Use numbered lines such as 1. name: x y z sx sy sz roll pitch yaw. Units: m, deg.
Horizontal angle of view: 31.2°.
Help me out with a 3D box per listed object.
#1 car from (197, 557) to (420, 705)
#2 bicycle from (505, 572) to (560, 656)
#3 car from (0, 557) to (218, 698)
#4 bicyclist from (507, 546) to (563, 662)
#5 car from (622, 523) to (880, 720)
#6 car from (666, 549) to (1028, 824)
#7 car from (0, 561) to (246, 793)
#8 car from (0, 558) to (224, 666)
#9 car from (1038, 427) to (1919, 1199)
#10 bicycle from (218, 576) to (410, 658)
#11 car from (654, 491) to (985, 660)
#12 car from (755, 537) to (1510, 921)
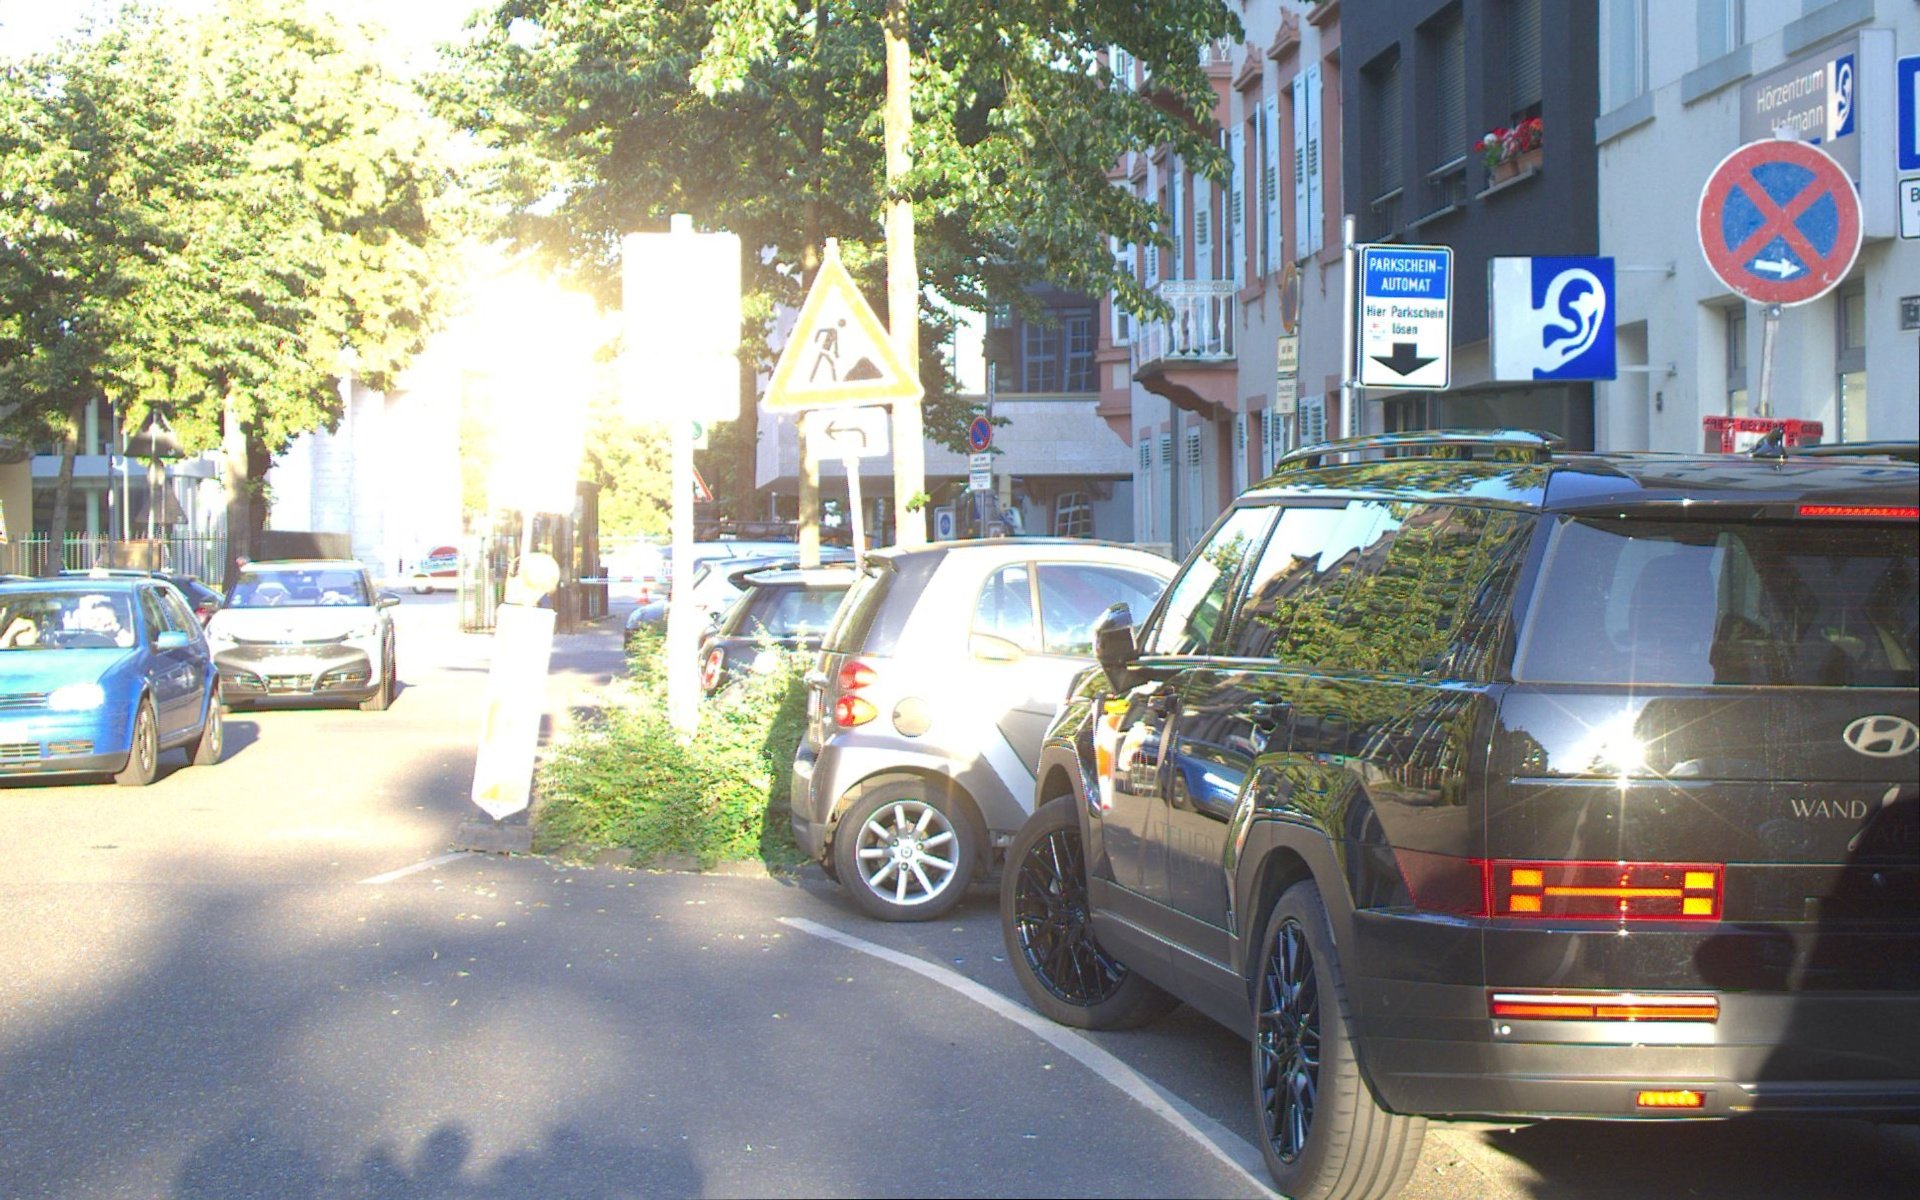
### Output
1. car: -6.945 0.298 37.048 1.884 1.475 4.460 1 0 -5
2. bicycle: -6.390 0.197 51.433 0.780 1.200 2.021 -1 1 -7
3. car: -10.246 0.266 37.106 4.102 1.461 1.890 1 0 -3
4. bicyclist: -6.346 0.053 51.306 0.780 1.690 1.007 -1 1 -7
5. car: -2.297 0.203 36.516 2.264 1.760 4.510 5 0 -8
6. car: -0.874 0.515 23.230 1.993 1.662 4.510 1 0 -7
7. car: -6.211 0.481 23.782 1.838 1.436 4.332 -2 1 -3
8. car: -12.670 0.148 48.713 4.102 1.461 1.890 1 0 -3
9. car: 1.447 0.500 8.974 1.824 1.689 4.370 1 0 -7
10. bicycle: -11.011 0.285 58.623 3.176 1.346 0.847 -1 1 -10
11. car: -1.703 -0.316 42.548 3.987 2.007 2.000 0 1 0
12. car: 0.678 0.525 14.619 2.968 1.531 1.434 1 0 -8
